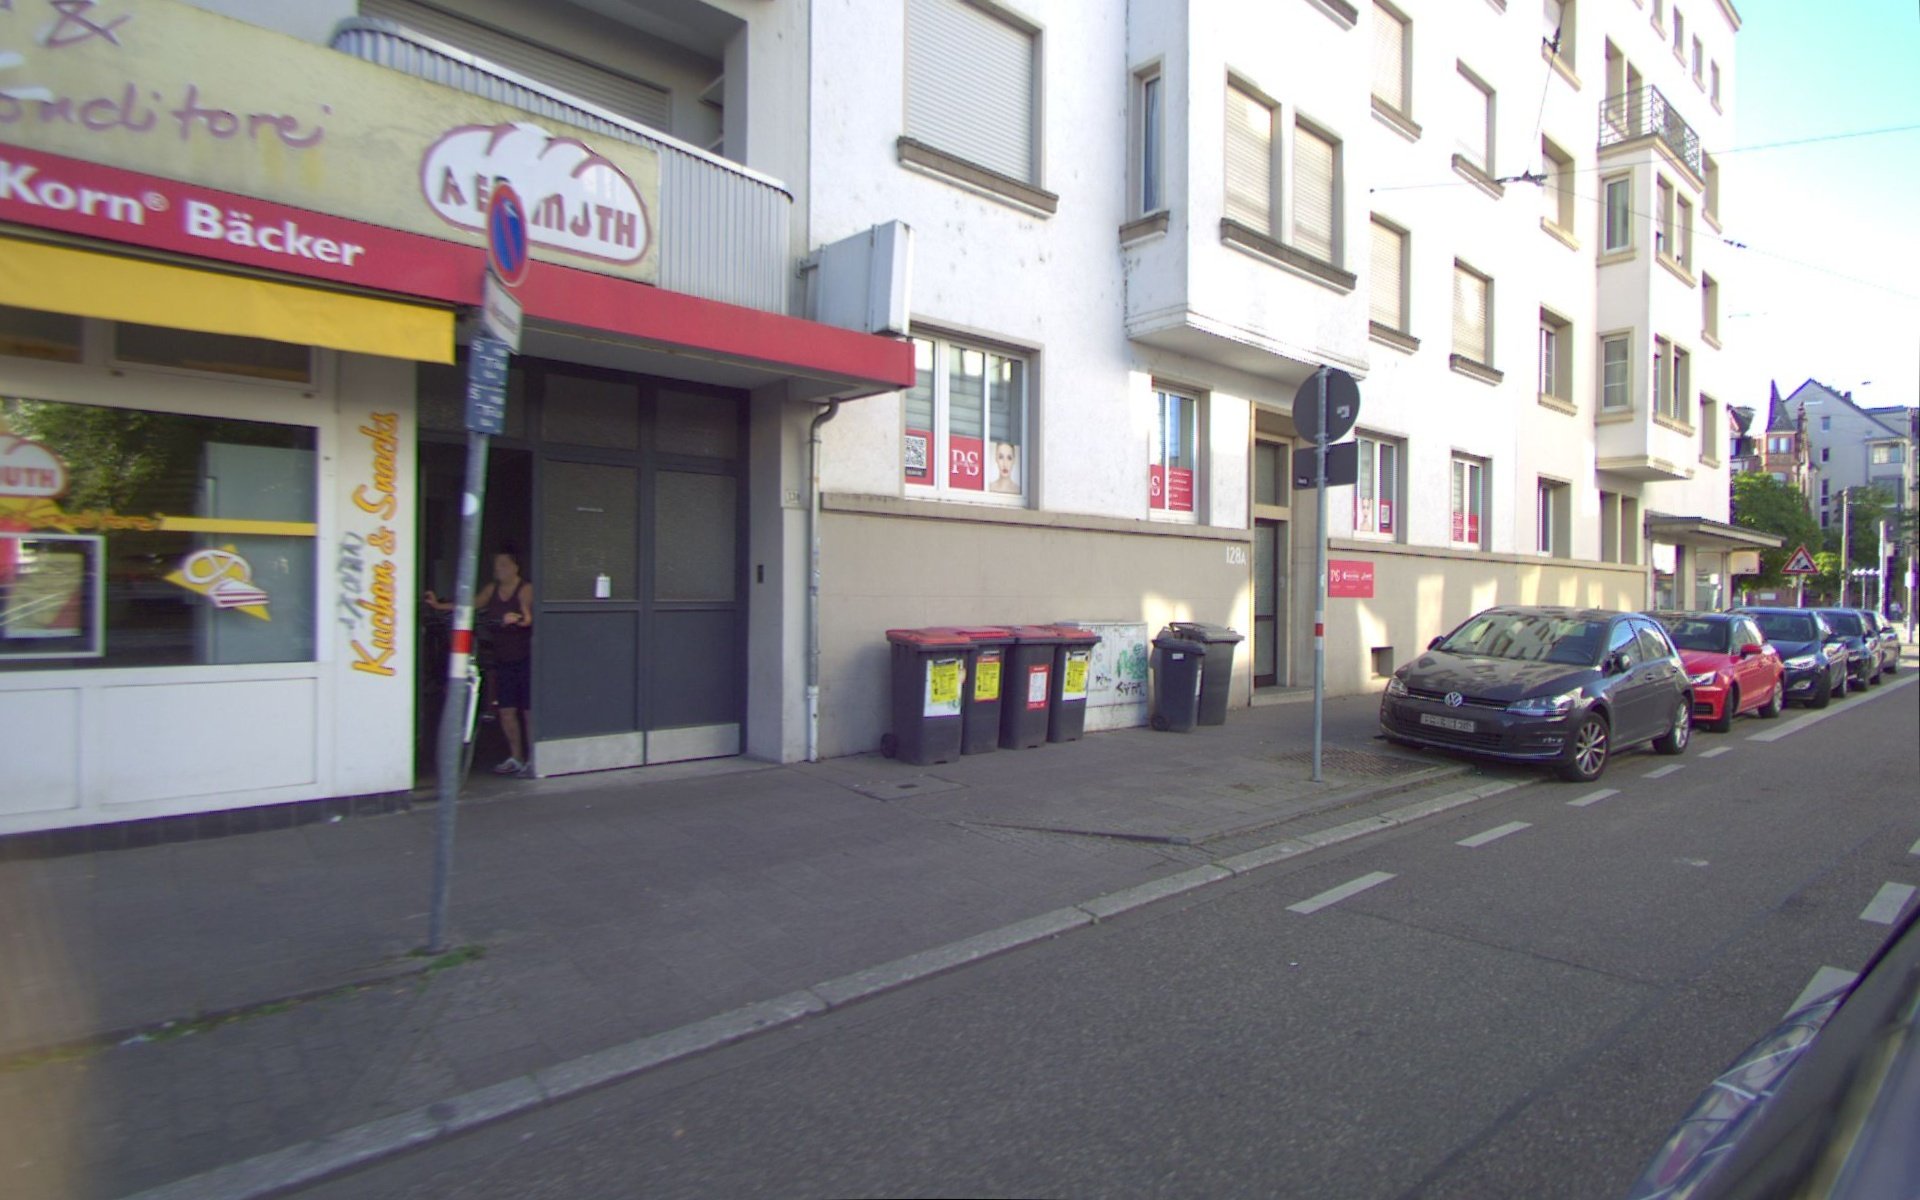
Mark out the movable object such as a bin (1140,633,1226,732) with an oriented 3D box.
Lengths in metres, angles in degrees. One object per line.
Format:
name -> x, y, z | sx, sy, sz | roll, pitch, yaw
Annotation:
movable object such as a bin -> 2.257, 0.814, 10.251 | 0.560, 0.928, 0.656 | 0, 0, -42

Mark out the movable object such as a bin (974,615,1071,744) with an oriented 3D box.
movable object such as a bin -> 0.556, 0.684, 9.099 | 0.560, 1.086, 0.676 | 0, 0, -42

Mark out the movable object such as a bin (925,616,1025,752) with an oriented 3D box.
movable object such as a bin -> 0.124, 0.694, 8.717 | 0.560, 1.086, 0.676 | 0, 0, -42

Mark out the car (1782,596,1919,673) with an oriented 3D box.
car -> 20.771, 0.708, 23.446 | 4.831, 1.525, 1.753 | 0, 3, -40

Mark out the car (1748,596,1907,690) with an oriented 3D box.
car -> 17.012, 0.736, 19.773 | 4.431, 1.525, 1.860 | 0, 3, -44

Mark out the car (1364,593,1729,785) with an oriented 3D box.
car -> 5.917, 0.694, 9.994 | 4.280, 1.424, 1.715 | 0, 3, -40

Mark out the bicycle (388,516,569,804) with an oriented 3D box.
bicycle -> -3.423, 0.355, 7.098 | 0.761, 1.732, 1.936 | 0, 0, -37

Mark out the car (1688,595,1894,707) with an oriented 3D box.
car -> 13.774, 0.735, 16.713 | 4.023, 1.525, 1.862 | 0, 3, -40

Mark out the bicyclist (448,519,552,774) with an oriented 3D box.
bicyclist -> -3.346, 0.314, 7.341 | 0.500, 1.724, 0.845 | 0, 0, -37

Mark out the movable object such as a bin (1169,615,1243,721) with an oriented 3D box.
movable object such as a bin -> 2.619, 0.704, 10.789 | 0.545, 1.070, 0.559 | 0, 0, -42

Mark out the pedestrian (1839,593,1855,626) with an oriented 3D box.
pedestrian -> 54.636, 0.591, 62.333 | 0.645, 1.980, 0.577 | 0, 0, 33

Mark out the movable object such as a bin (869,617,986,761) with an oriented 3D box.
movable object such as a bin -> -0.268, 0.689, 8.247 | 0.607, 1.086, 0.771 | 0, 0, -42

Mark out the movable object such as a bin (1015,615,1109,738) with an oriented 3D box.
movable object such as a bin -> 0.957, 0.694, 9.510 | 0.560, 1.086, 0.676 | 0, 0, -42

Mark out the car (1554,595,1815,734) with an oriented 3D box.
car -> 9.760, 0.728, 13.539 | 3.917, 1.490, 1.862 | 0, 3, -40
